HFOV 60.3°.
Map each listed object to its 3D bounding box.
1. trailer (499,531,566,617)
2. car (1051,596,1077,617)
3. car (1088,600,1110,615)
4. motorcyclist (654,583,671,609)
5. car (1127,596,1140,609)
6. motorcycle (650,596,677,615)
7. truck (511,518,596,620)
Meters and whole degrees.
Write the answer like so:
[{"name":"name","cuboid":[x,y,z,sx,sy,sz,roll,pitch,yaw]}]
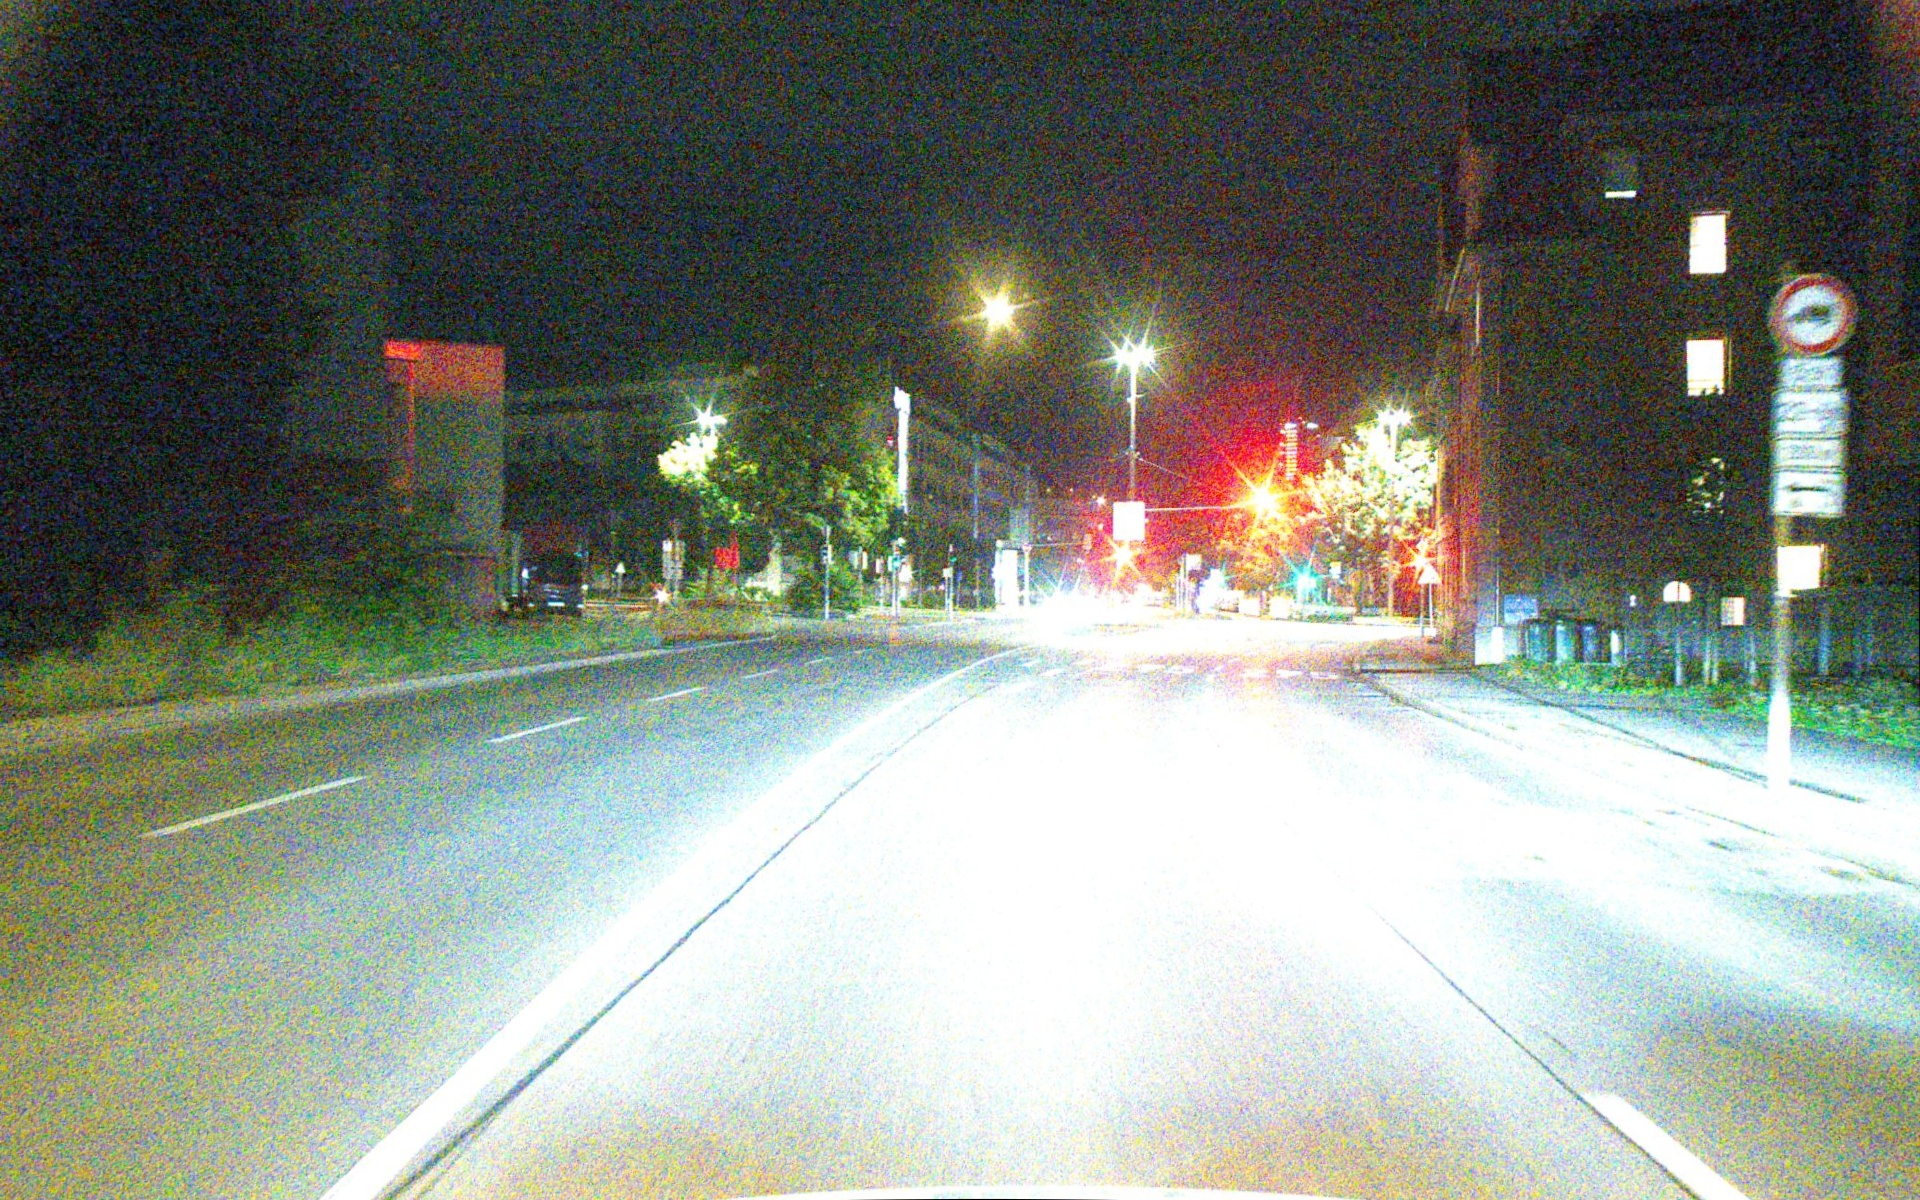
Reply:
[{"name":"trailer","cuboid":[-20.347,-1.184,78.515,2.574,3.857,6.479,1,0,-19]},{"name":"car","cuboid":[7.843,0.501,124.563,1.581,1.541,4.003,1,0,9]},{"name":"car","cuboid":[12.694,0.703,150.932,1.720,1.345,3.550,1,0,9]},{"name":"motorcyclist","cuboid":[-14.748,-0.214,81.869,0.640,1.283,0.572,1,0,-33]},{"name":"car","cuboid":[25.455,0.373,243.142,1.720,1.758,3.550,1,0,9]},{"name":"motorcycle","cuboid":[-14.733,0.263,82.171,0.572,0.911,2.131,-2,1,-33]},{"name":"truck","cuboid":[-16.941,-1.214,68.506,2.891,3.863,9.513,1,0,-17]}]
